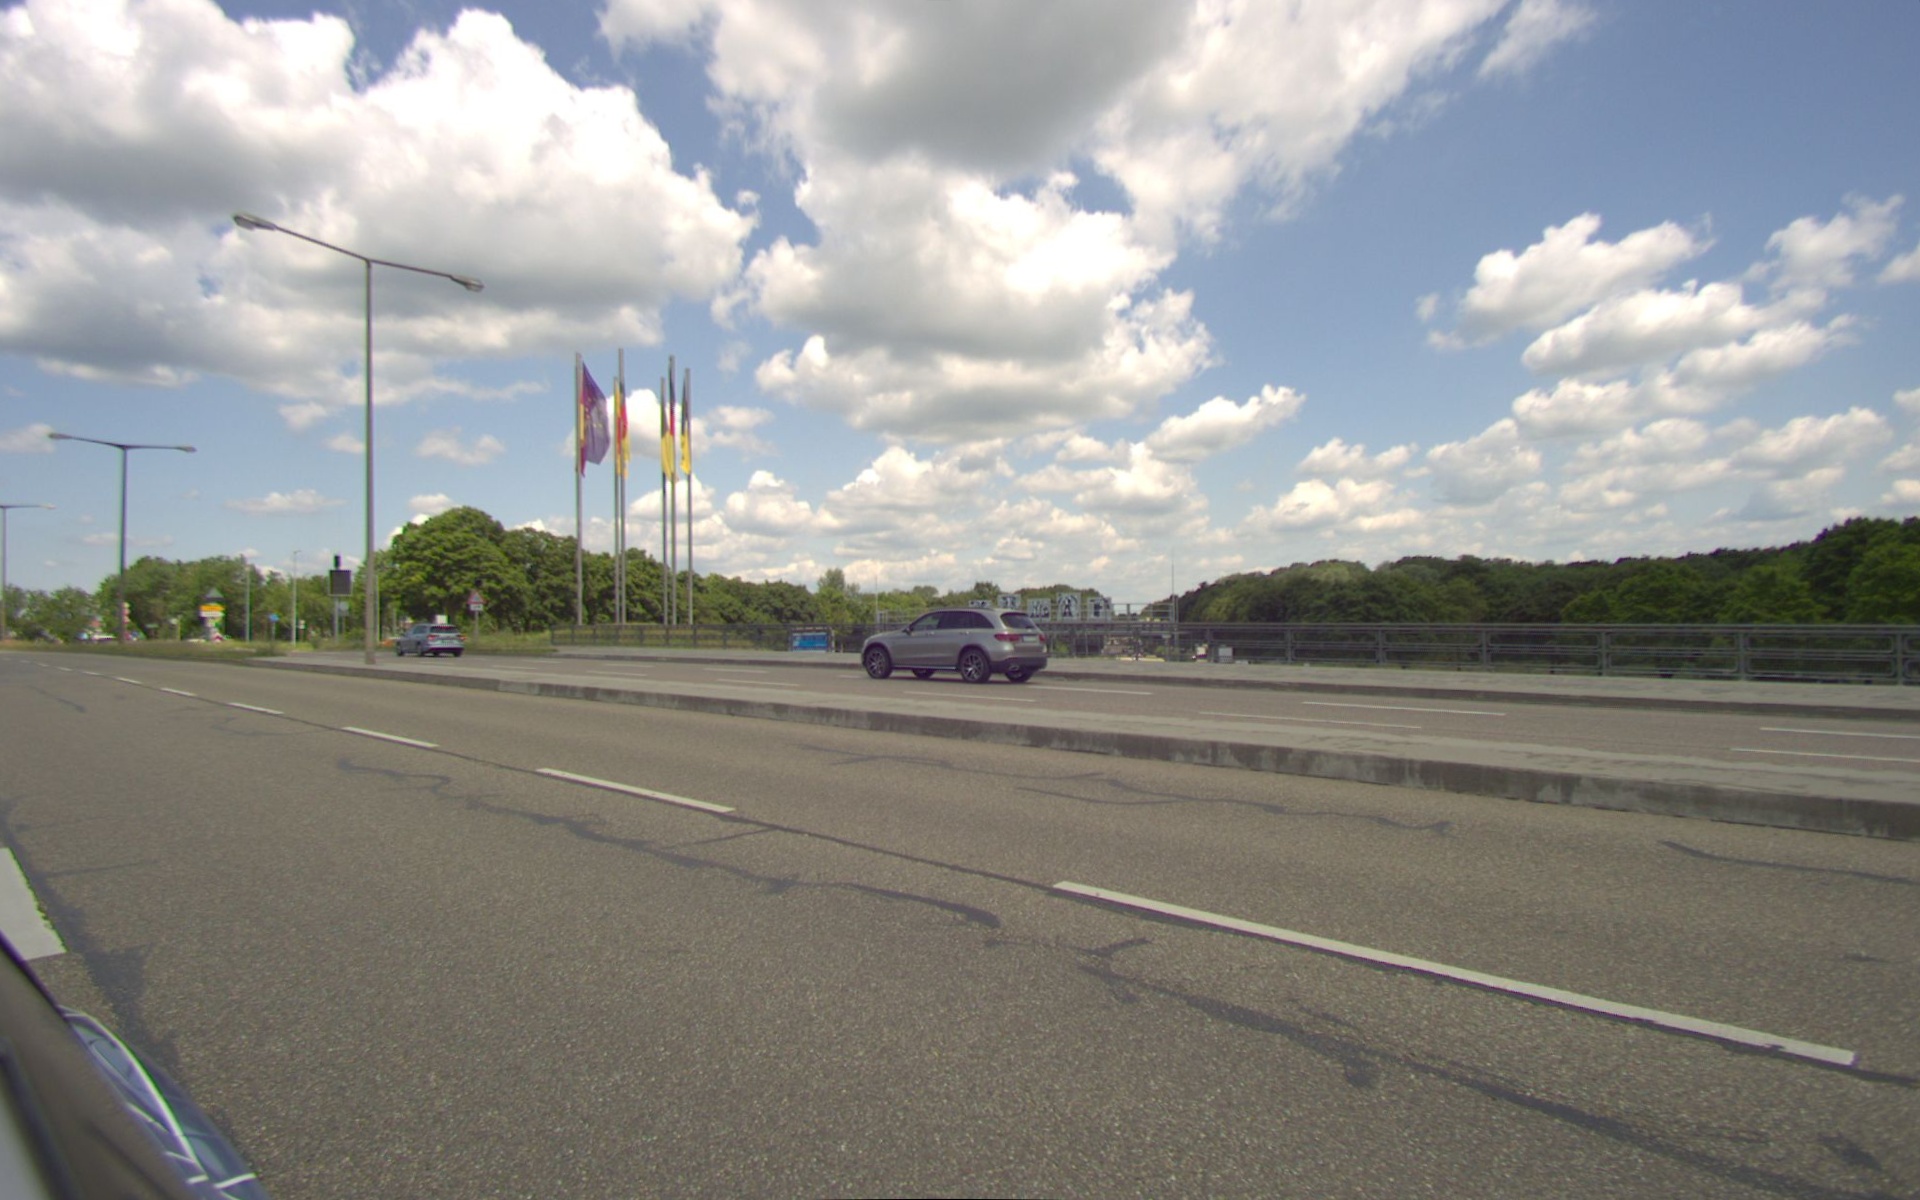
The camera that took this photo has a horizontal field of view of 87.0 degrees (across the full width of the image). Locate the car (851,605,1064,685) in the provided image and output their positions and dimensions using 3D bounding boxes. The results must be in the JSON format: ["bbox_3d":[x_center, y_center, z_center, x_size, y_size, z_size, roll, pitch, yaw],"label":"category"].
[{"bbox_3d":[-0.111,1.053,22.975,4.543,1.639,2.068,-2,-5,38],"label":"car"}]

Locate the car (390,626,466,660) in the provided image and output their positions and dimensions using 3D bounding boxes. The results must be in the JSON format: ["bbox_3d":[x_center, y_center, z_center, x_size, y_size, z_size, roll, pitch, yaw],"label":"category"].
[{"bbox_3d":[-23.735,1.938,45.080,4.551,1.424,1.645,-3,-5,44],"label":"car"}]
